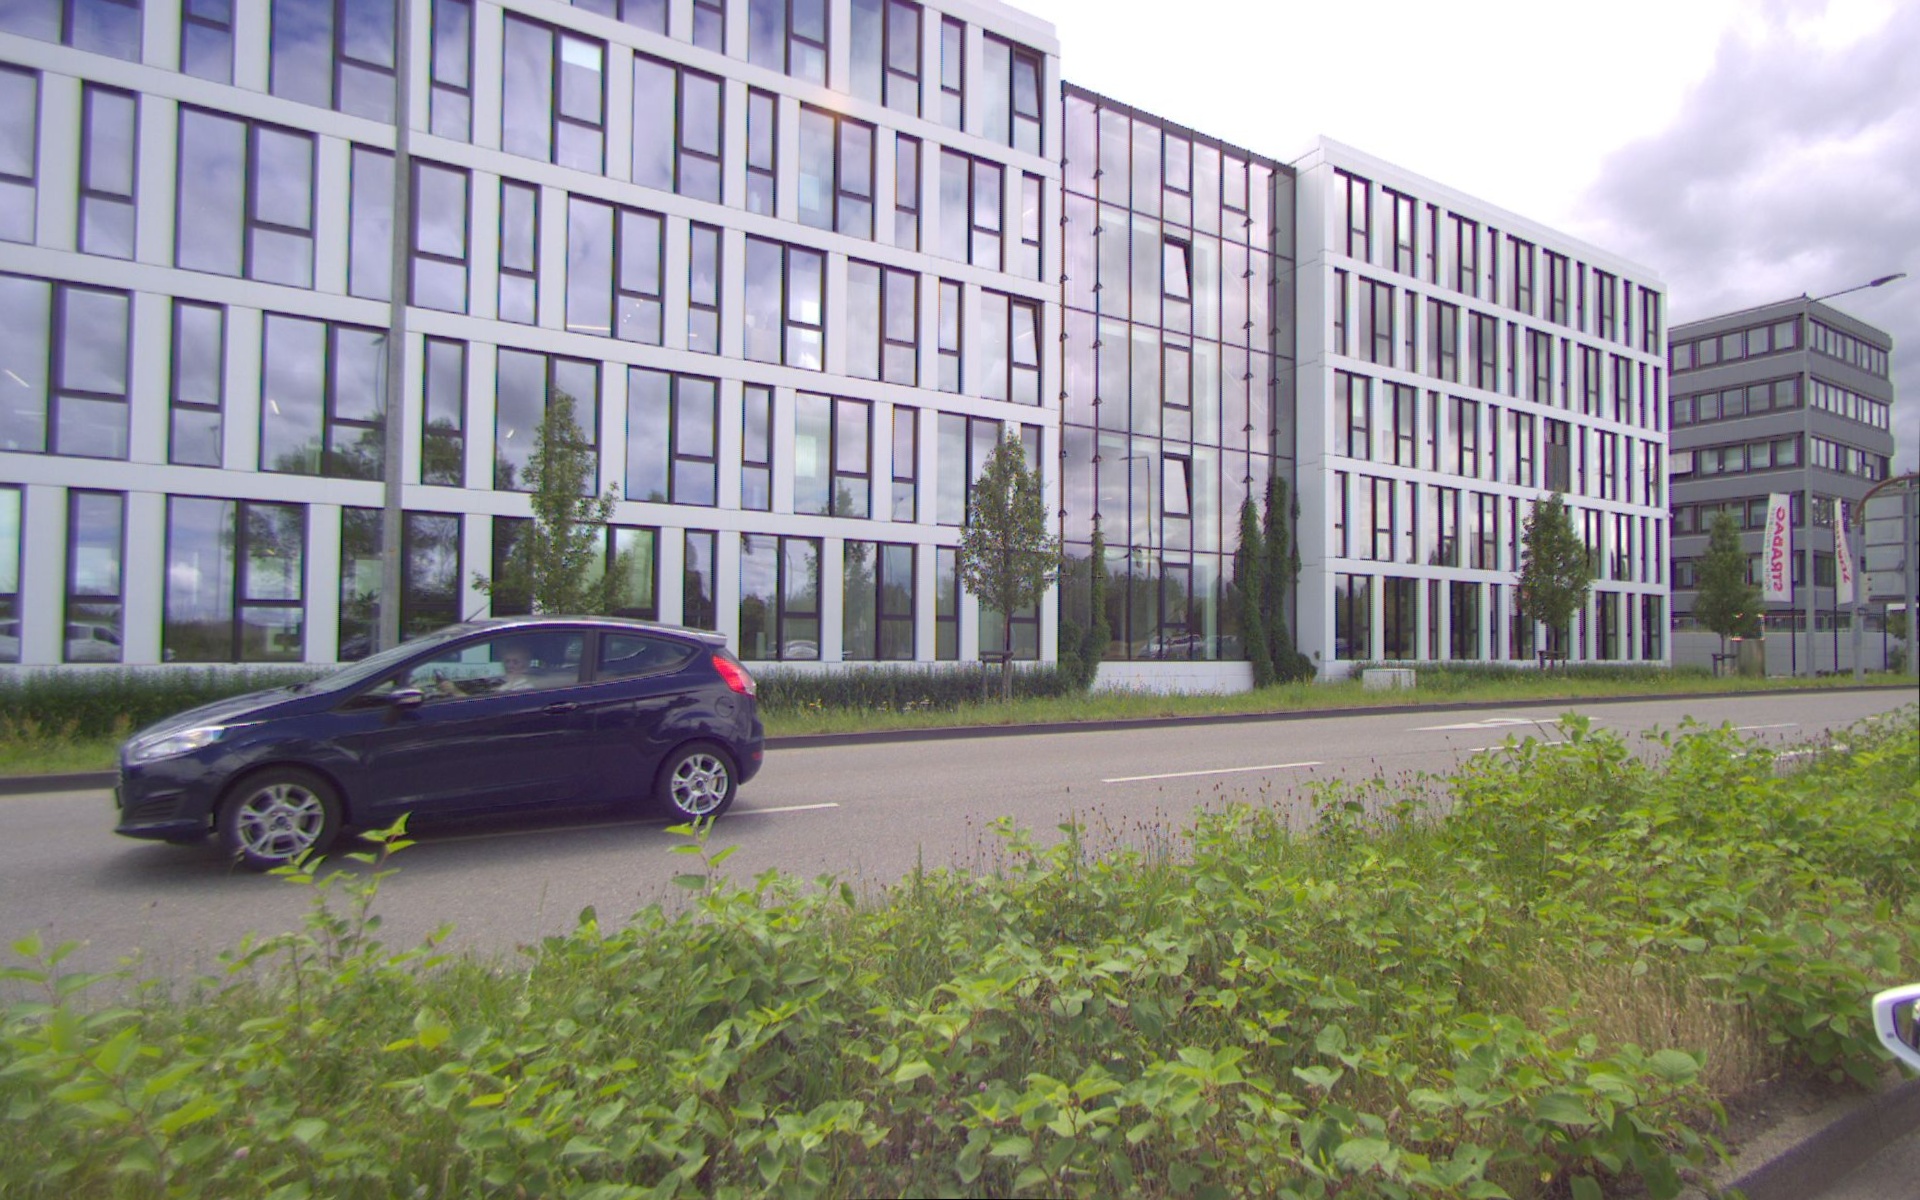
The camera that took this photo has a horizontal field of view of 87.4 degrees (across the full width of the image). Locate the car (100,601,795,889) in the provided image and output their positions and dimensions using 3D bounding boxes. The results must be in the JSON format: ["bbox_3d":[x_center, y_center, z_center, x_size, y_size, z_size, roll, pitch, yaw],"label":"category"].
[{"bbox_3d":[-3.294,0.810,6.996,3.851,1.465,1.743,2,0,-34],"label":"car"}]
